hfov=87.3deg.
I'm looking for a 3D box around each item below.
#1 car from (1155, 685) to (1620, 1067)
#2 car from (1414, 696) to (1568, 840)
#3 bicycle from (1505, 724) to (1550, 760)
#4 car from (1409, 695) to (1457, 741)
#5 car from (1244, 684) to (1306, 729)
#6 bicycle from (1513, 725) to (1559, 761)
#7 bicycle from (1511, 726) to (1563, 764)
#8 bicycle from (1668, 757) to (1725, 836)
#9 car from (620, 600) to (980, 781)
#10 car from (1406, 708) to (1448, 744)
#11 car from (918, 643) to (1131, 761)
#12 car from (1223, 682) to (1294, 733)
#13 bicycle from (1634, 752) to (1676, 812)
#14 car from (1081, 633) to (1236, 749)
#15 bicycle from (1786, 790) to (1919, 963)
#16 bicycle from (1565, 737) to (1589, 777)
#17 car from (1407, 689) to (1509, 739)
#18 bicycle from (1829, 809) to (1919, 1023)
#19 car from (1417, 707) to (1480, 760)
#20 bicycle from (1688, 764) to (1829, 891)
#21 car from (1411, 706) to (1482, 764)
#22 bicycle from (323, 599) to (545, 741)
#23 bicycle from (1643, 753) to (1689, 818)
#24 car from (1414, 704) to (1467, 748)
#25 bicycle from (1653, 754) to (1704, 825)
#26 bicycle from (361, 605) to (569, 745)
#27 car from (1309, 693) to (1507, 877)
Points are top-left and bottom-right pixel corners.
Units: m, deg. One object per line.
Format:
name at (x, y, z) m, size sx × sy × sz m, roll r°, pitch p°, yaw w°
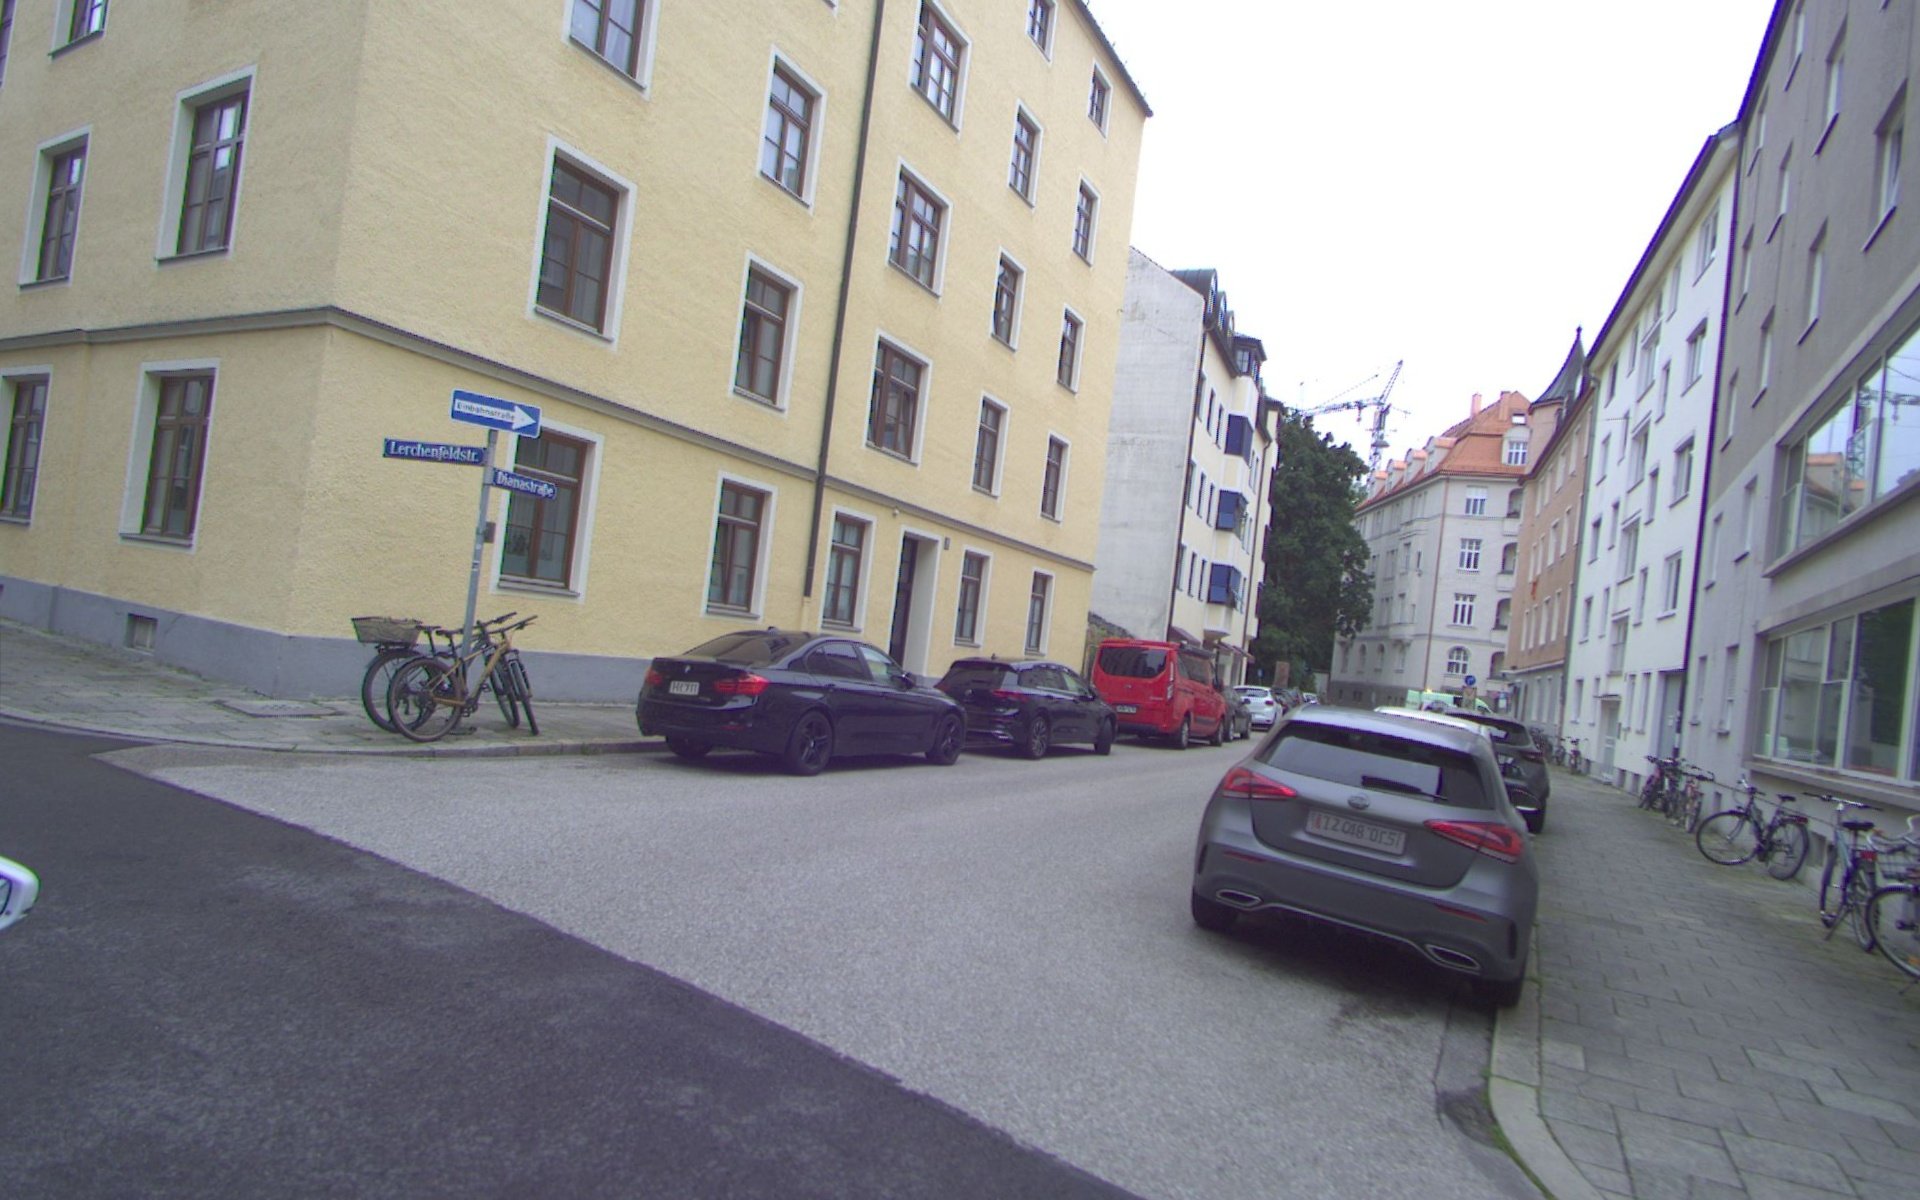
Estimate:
car at (2.973, 1.480, 6.883) m, size 1.965 × 1.416 × 4.216 m, roll 8°, pitch -1°, yaw 27°
car at (7.853, 2.396, 15.167) m, size 1.538 × 1.545 × 3.675 m, roll 12°, pitch 0°, yaw 24°
bicycle at (21.362, 5.345, 37.840) m, size 2.013 × 1.128 × 0.462 m, roll 9°, pitch -2°, yaw -30°
car at (22.581, 5.609, 48.110) m, size 1.704 × 1.812 × 4.112 m, roll 9°, pitch -2°, yaw 24°
car at (12.327, 4.148, 39.249) m, size 1.732 × 1.505 × 4.039 m, roll 4°, pitch -4°, yaw 25°
bicycle at (21.372, 5.307, 37.307) m, size 2.013 × 1.128 × 0.462 m, roll 9°, pitch -2°, yaw -30°
bicycle at (20.713, 5.204, 36.103) m, size 2.013 × 1.128 × 0.603 m, roll 9°, pitch -3°, yaw -30°
bicycle at (12.256, 3.249, 16.779) m, size 0.457 × 1.128 × 1.802 m, roll 6°, pitch -3°, yaw 29°
car at (-1.542, 1.024, 11.364) m, size 1.682 × 1.510 × 4.223 m, roll 5°, pitch -3°, yaw 28°
car at (24.749, 6.644, 53.410) m, size 1.704 × 1.532 × 3.888 m, roll 9°, pitch -2°, yaw 24°
car at (1.167, 1.628, 15.981) m, size 1.683 × 1.510 × 3.984 m, roll 4°, pitch -4°, yaw 30°
car at (10.371, 3.718, 34.769) m, size 1.732 × 1.505 × 4.039 m, roll 4°, pitch -4°, yaw 25°
bicycle at (14.920, 3.889, 21.624) m, size 0.457 × 1.128 × 1.802 m, roll 6°, pitch -3°, yaw 29°
car at (4.380, 1.989, 21.613) m, size 1.876 × 2.075 × 4.554 m, roll 4°, pitch -4°, yaw 29°
bicycle at (7.522, 2.250, 8.483) m, size 0.457 × 1.128 × 1.802 m, roll 6°, pitch -3°, yaw 29°
bicycle at (18.965, 4.805, 30.941) m, size 0.457 × 1.128 × 1.802 m, roll 6°, pitch -3°, yaw 29°
car at (33.584, 7.690, 68.046) m, size 5.885 × 2.572 × 2.001 m, roll 6°, pitch -3°, yaw 25°
bicycle at (6.377, 2.049, 6.552) m, size 0.639 × 1.128 × 1.802 m, roll 6°, pitch -3°, yaw 29°
car at (17.761, 4.812, 36.686) m, size 1.704 × 1.532 × 3.888 m, roll 9°, pitch -2°, yaw 24°
bicycle at (9.199, 2.573, 11.679) m, size 0.865 × 1.128 × 2.054 m, roll 6°, pitch -3°, yaw 29°
car at (15.358, 4.235, 31.887) m, size 1.704 × 1.433 × 3.678 m, roll 9°, pitch -2°, yaw 24°
bicycle at (-4.970, 0.673, 9.650) m, size 0.496 × 1.188 × 1.812 m, roll 8°, pitch 0°, yaw 28°
bicycle at (14.040, 3.666, 20.027) m, size 0.457 × 1.128 × 1.802 m, roll 6°, pitch -3°, yaw 29°
car at (20.527, 5.356, 43.069) m, size 1.704 × 1.532 × 3.888 m, roll 9°, pitch -2°, yaw 24°
bicycle at (13.128, 3.443, 18.414) m, size 0.457 × 1.128 × 1.802 m, roll 6°, pitch -3°, yaw 29°
bicycle at (-4.542, 0.705, 9.372) m, size 0.367 × 1.153 × 1.716 m, roll 8°, pitch 0°, yaw 30°
car at (5.210, 1.962, 11.464) m, size 1.540 × 1.452 × 3.352 m, roll 12°, pitch 0°, yaw 30°
